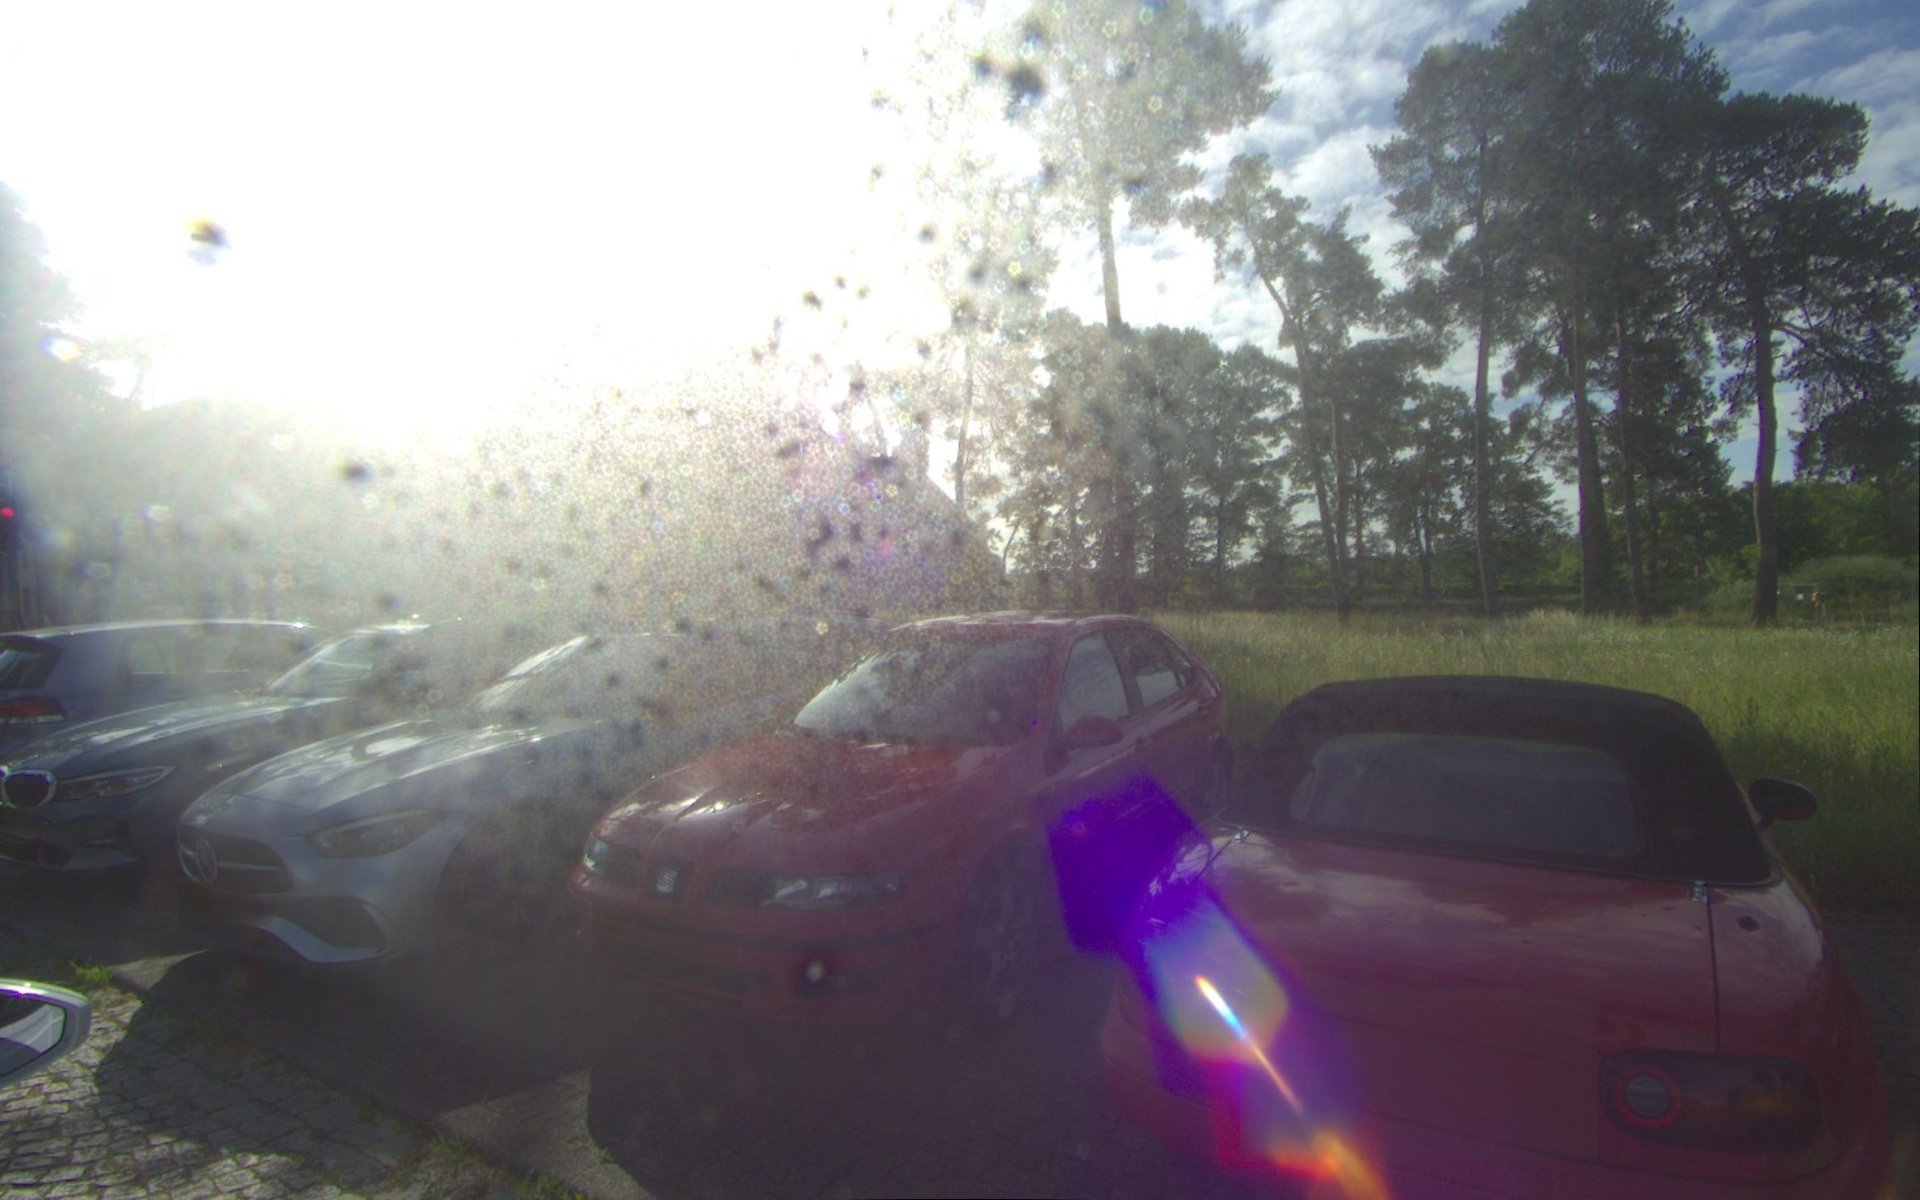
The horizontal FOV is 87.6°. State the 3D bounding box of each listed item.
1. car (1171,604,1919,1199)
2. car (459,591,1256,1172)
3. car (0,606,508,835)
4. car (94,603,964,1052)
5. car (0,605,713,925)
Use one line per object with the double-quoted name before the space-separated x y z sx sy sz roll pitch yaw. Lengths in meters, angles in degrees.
"car" 2.378 0.701 4.237 1.721 1.240 3.697 0 2 33
"car" 0.032 0.743 4.838 1.613 1.469 4.117 0 2 33
"car" -6.273 0.840 8.868 1.613 1.434 3.872 0 2 33
"car" -1.898 0.809 5.837 1.755 1.434 4.420 0 2 33
"car" -4.077 0.831 7.311 1.613 1.434 4.547 0 2 33
